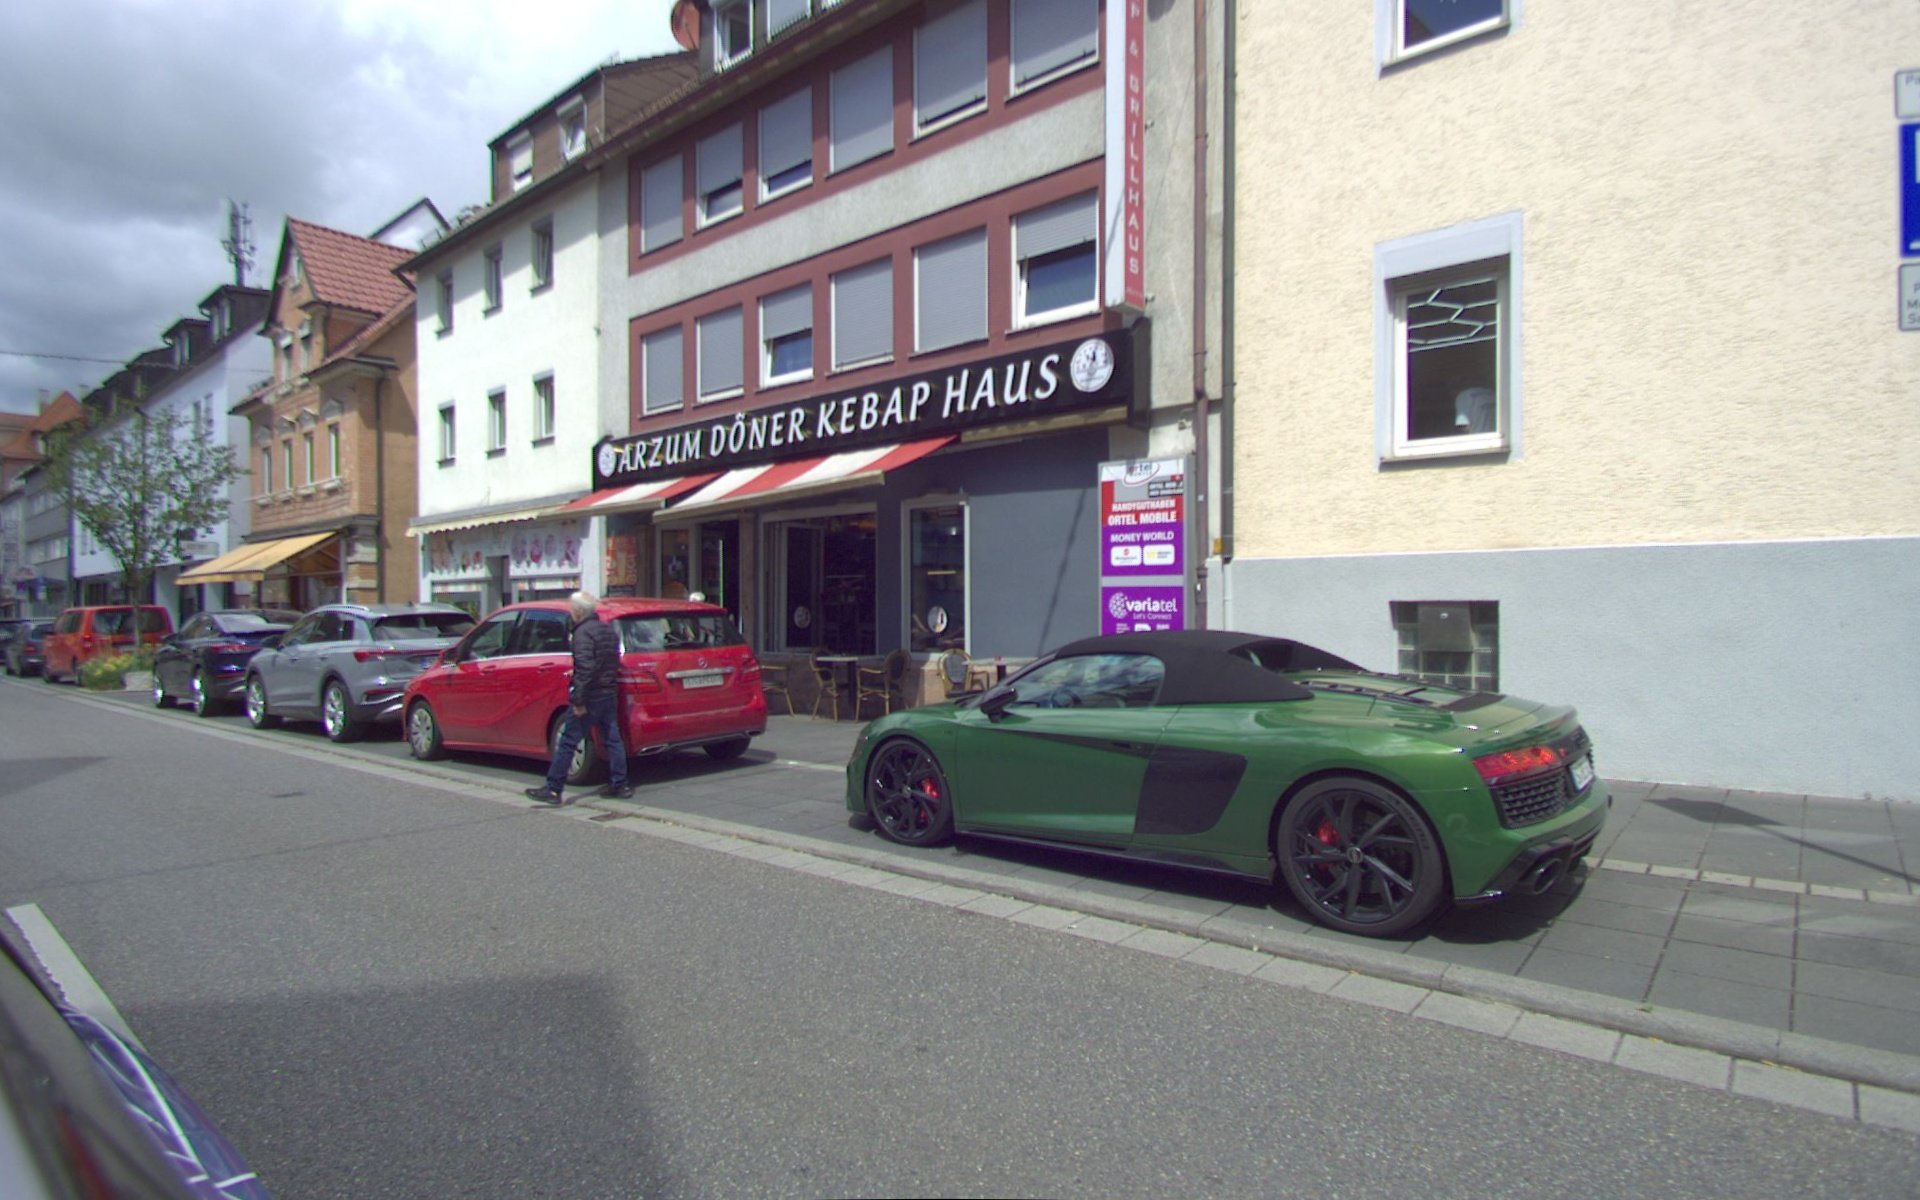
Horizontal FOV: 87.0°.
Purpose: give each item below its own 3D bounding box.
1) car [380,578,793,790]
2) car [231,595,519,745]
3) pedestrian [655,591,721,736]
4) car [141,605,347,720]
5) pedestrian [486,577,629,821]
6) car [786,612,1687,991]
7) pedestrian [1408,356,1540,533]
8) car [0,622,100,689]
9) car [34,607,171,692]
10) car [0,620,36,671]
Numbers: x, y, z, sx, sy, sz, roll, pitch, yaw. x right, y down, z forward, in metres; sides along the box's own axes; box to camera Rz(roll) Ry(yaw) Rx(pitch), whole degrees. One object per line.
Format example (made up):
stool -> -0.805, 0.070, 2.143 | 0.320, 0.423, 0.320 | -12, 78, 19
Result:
car -> -3.708, 0.693, 9.713 | 4.212, 1.616, 1.782 | -2, -1, 38
car -> -7.585, 0.808, 12.954 | 4.346, 1.616, 1.782 | -2, -2, 39
pedestrian -> -3.214, 0.726, 11.958 | 0.574, 1.660, 0.496 | -1, 0, 42
car -> -11.765, 0.946, 16.508 | 4.387, 1.610, 1.780 | -2, -1, 41
pedestrian -> -2.959, 0.675, 7.434 | 0.779, 1.660, 0.679 | -1, 1, 43
car -> 1.190, 0.755, 5.664 | 4.521, 1.233, 1.800 | -2, 1, 41
pedestrian -> 4.402, -1.302, 8.704 | 0.668, 1.404, 0.747 | -1, 0, -13
car -> -27.293, 1.589, 30.291 | 4.463, 1.768, 1.797 | -1, 1, 43
car -> -21.510, 1.153, 25.330 | 4.837, 1.903, 1.798 | -1, 1, 40
car -> -36.696, 1.711, 38.639 | 4.670, 1.768, 1.796 | -1, 1, 44
